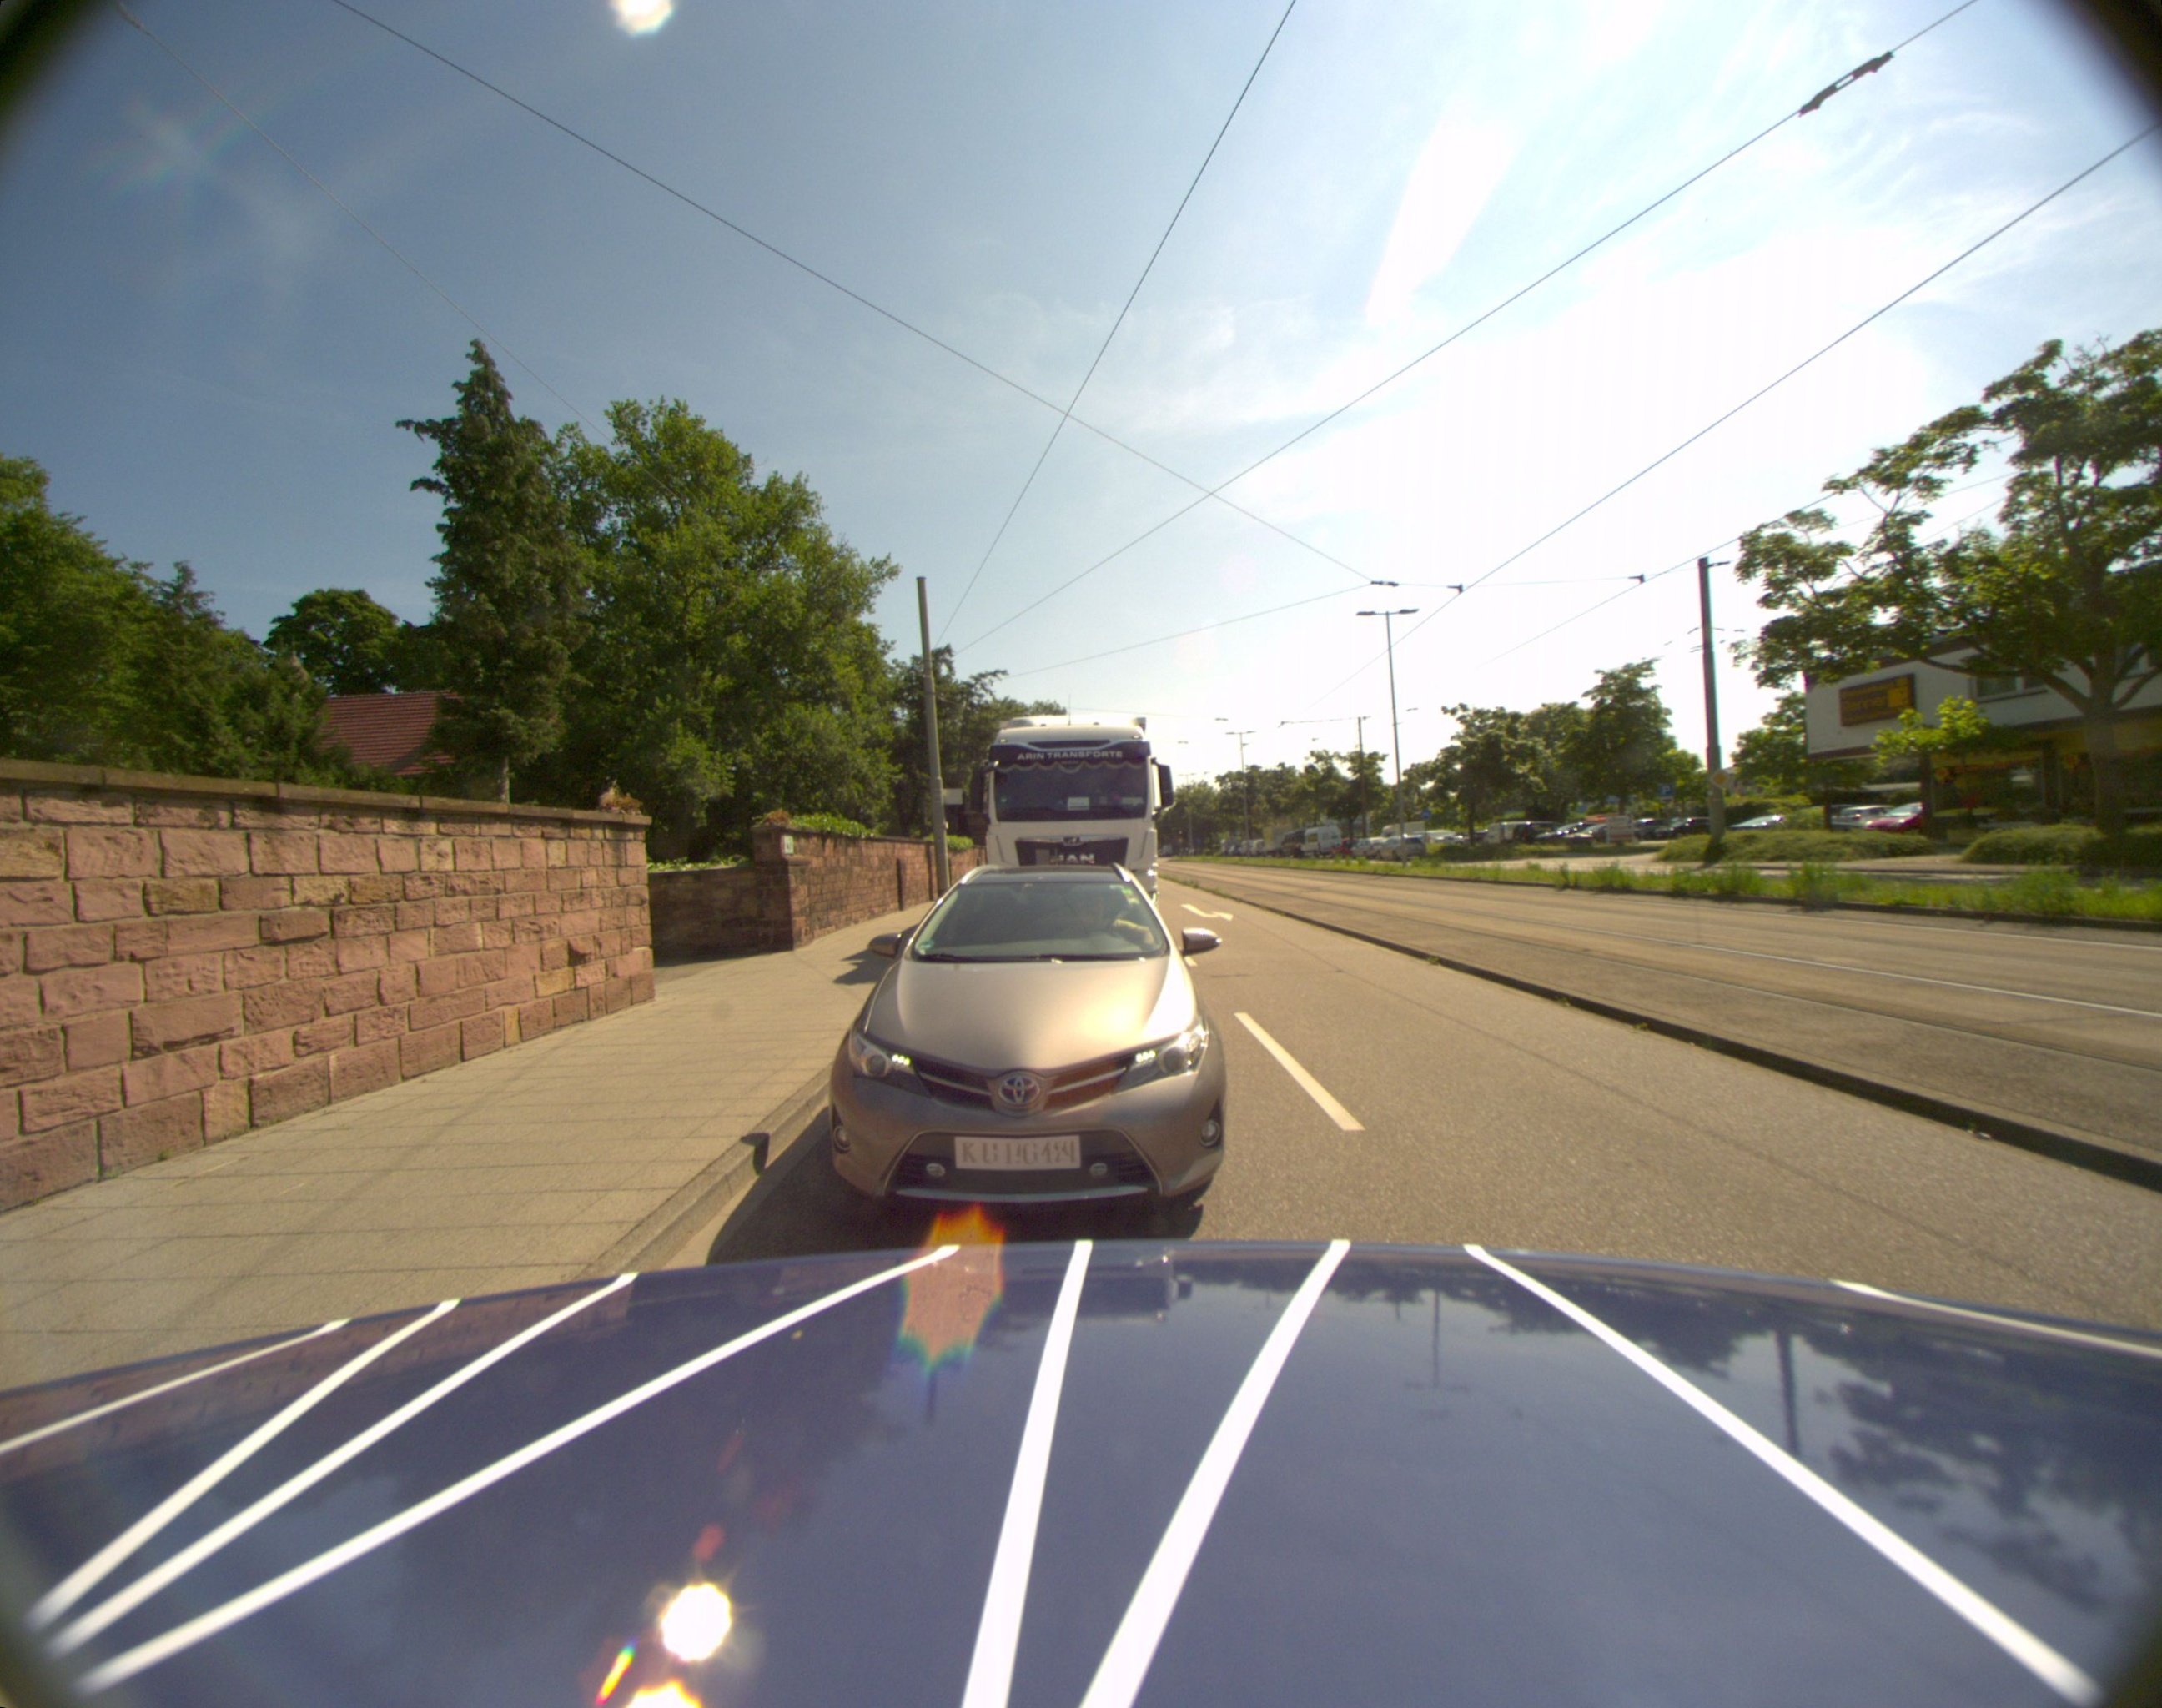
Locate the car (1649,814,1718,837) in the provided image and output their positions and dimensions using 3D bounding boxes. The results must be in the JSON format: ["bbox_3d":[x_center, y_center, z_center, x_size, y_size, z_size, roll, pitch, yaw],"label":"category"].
[{"bbox_3d":[43.529,-2.040,54.943,3.624,1.353,1.712,-3,1,-1],"label":"car"}]

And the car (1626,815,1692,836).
[{"bbox_3d":[43.726,-2.159,57.533,3.624,1.353,1.712,-3,1,-1],"label":"car"}]

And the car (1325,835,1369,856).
[{"bbox_3d":[20.555,-0.632,58.854,1.893,1.486,4.232,-3,0,0],"label":"car"}]

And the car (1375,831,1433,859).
[{"bbox_3d":[20.400,-0.544,48.176,1.892,1.486,4.285,-6,0,2],"label":"car"}]

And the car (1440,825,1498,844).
[{"bbox_3d":[31.044,-1.542,60.867,3.624,1.274,1.812,-3,0,-1],"label":"car"}]

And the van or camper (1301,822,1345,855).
[{"bbox_3d":[20.266,-1.267,63.800,2.040,2.617,4.839,-3,0,0],"label":"van or camper"}]

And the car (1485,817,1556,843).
[{"bbox_3d":[30.444,-1.643,52.667,3.749,1.560,1.951,-3,1,-1],"label":"car"}]

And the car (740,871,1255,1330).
[{"bbox_3d":[-0.261,0.921,4.896,1.742,1.424,4.462,-3,0,1],"label":"car"}]

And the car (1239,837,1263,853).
[{"bbox_3d":[21.049,-1.090,94.295,1.893,1.757,4.232,-3,0,0],"label":"car"}]

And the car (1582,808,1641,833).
[{"bbox_3d":[43.624,-2.728,62.501,3.624,1.767,1.712,-3,1,-1],"label":"car"}]

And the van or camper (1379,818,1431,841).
[{"bbox_3d":[44.857,-3.388,105.389,6.081,2.715,2.299,-3,1,3],"label":"van or camper"}]

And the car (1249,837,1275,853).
[{"bbox_3d":[20.776,-1.030,87.359,1.893,1.724,4.232,-3,0,0],"label":"car"}]

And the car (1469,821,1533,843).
[{"bbox_3d":[30.372,-1.582,54.994,3.624,1.277,1.712,-3,1,-1],"label":"car"}]

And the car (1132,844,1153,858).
[{"bbox_3d":[8.035,-0.385,99.419,1.816,1.725,4.025,-2,1,17],"label":"car"}]

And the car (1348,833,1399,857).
[{"bbox_3d":[20.530,-0.633,53.538,1.893,1.551,4.285,-3,0,0],"label":"car"}]

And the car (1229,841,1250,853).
[{"bbox_3d":[20.911,-0.920,100.299,1.893,1.551,4.232,-3,0,0],"label":"car"}]

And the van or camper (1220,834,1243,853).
[{"bbox_3d":[21.201,-1.475,107.157,2.114,2.604,5.451,-2,1,1],"label":"van or camper"}]

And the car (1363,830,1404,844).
[{"bbox_3d":[31.999,-1.798,80.393,3.624,1.274,1.712,-3,1,-1],"label":"car"}]

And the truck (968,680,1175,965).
[{"bbox_3d":[-0.071,-0.459,15.063,2.746,3.852,9.110,-2,0,1],"label":"truck"}]

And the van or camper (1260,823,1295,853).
[{"bbox_3d":[20.287,-1.612,78.745,2.128,2.967,5.281,-3,0,0],"label":"van or camper"}]

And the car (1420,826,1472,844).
[{"bbox_3d":[31.687,-1.624,66.027,3.624,1.274,1.712,-3,1,-1],"label":"car"}]

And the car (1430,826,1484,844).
[{"bbox_3d":[31.457,-1.588,63.570,3.624,1.274,1.712,-3,1,-1],"label":"car"}]

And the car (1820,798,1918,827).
[{"bbox_3d":[43.783,-2.299,42.263,3.624,1.353,1.712,-3,1,-1],"label":"car"}]

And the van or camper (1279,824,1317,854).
[{"bbox_3d":[20.213,-1.345,70.855,2.040,2.617,4.839,-3,0,0],"label":"van or camper"}]

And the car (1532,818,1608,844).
[{"bbox_3d":[30.492,-1.406,47.458,3.624,1.353,1.712,-3,1,-1],"label":"car"}]

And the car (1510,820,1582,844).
[{"bbox_3d":[30.696,-1.445,50.201,3.624,1.353,1.712,-3,1,-1],"label":"car"}]
